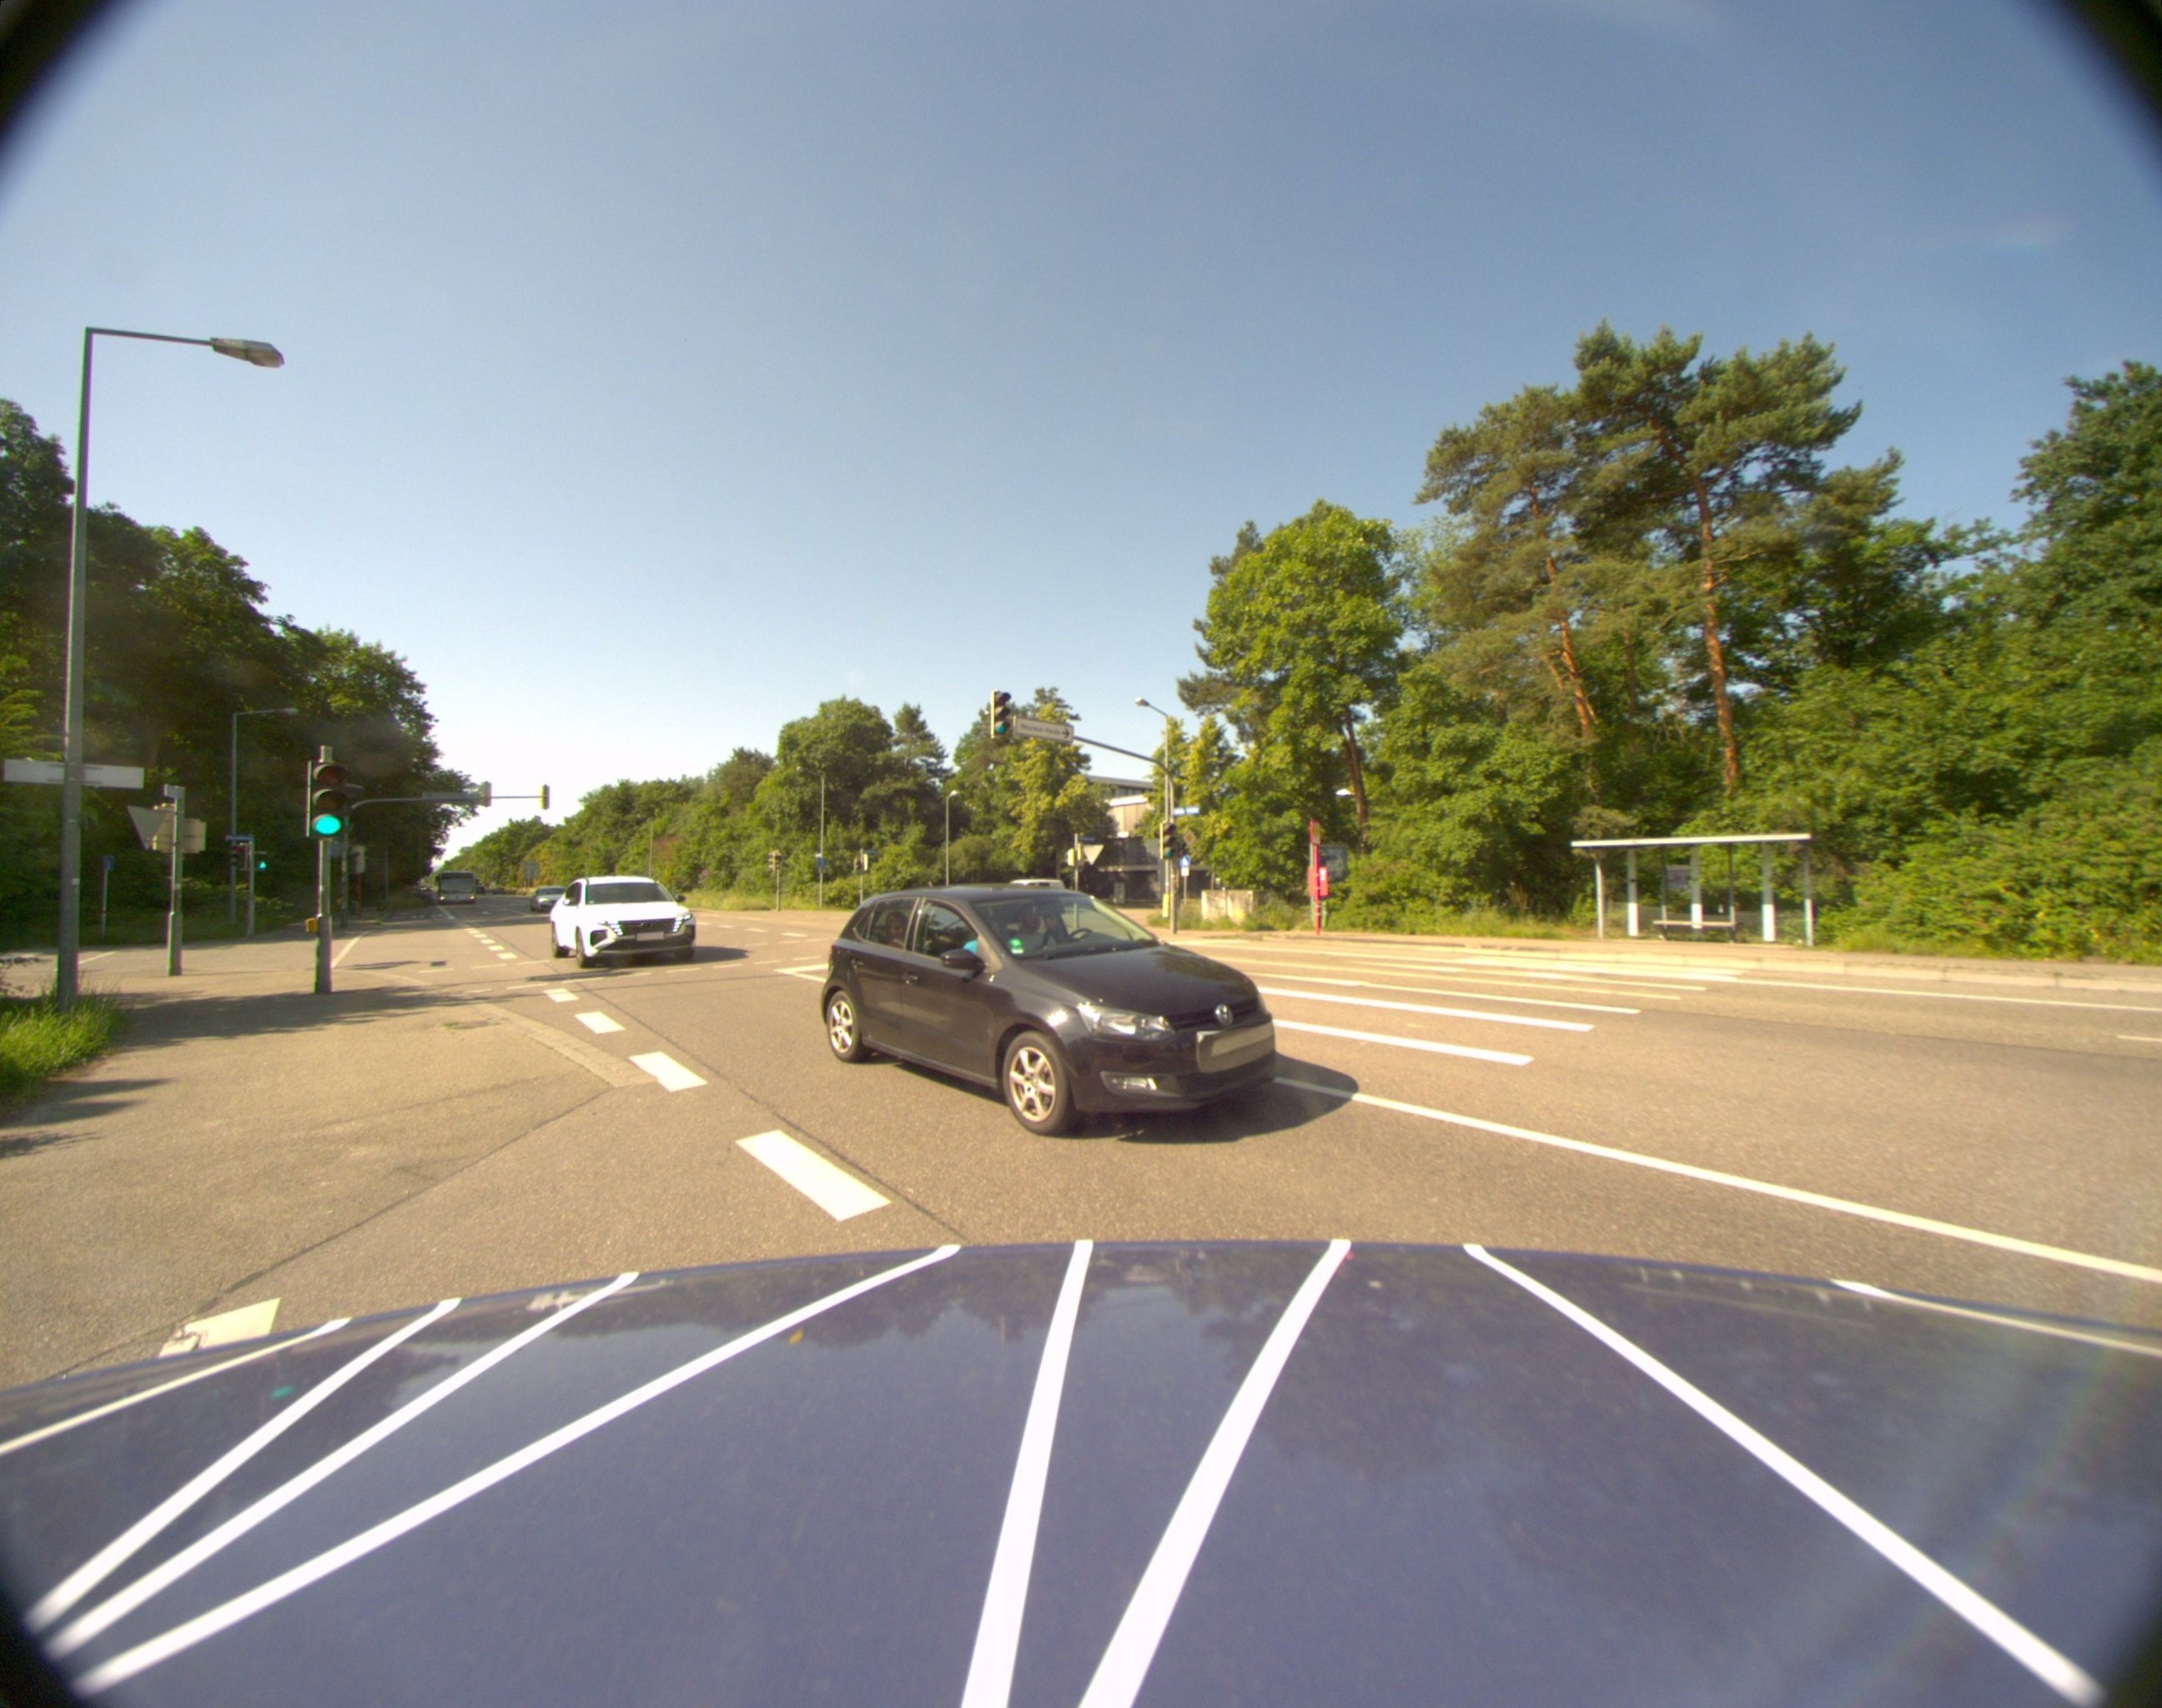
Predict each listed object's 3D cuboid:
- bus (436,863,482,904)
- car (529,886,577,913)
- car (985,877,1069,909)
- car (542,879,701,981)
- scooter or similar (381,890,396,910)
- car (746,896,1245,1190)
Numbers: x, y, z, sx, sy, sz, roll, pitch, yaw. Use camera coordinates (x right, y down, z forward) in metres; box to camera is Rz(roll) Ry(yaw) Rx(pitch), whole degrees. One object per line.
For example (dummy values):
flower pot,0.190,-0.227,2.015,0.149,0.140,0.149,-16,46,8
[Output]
bus,-56.038,2.587,68.380,2.790,3.437,7.773,-2,0,-41
car,-30.247,2.573,43.492,1.793,1.416,4.411,-2,-1,-41
car,-3.080,2.226,43.867,4.672,1.767,1.847,2,-3,-41
car,-9.147,1.364,14.968,1.818,1.638,4.296,-1,-1,-43
scooter or similar,-44.008,2.914,48.300,1.326,1.299,0.402,-2,-2,35
car,-0.943,1.096,5.964,4.044,1.422,1.655,-3,0,45
